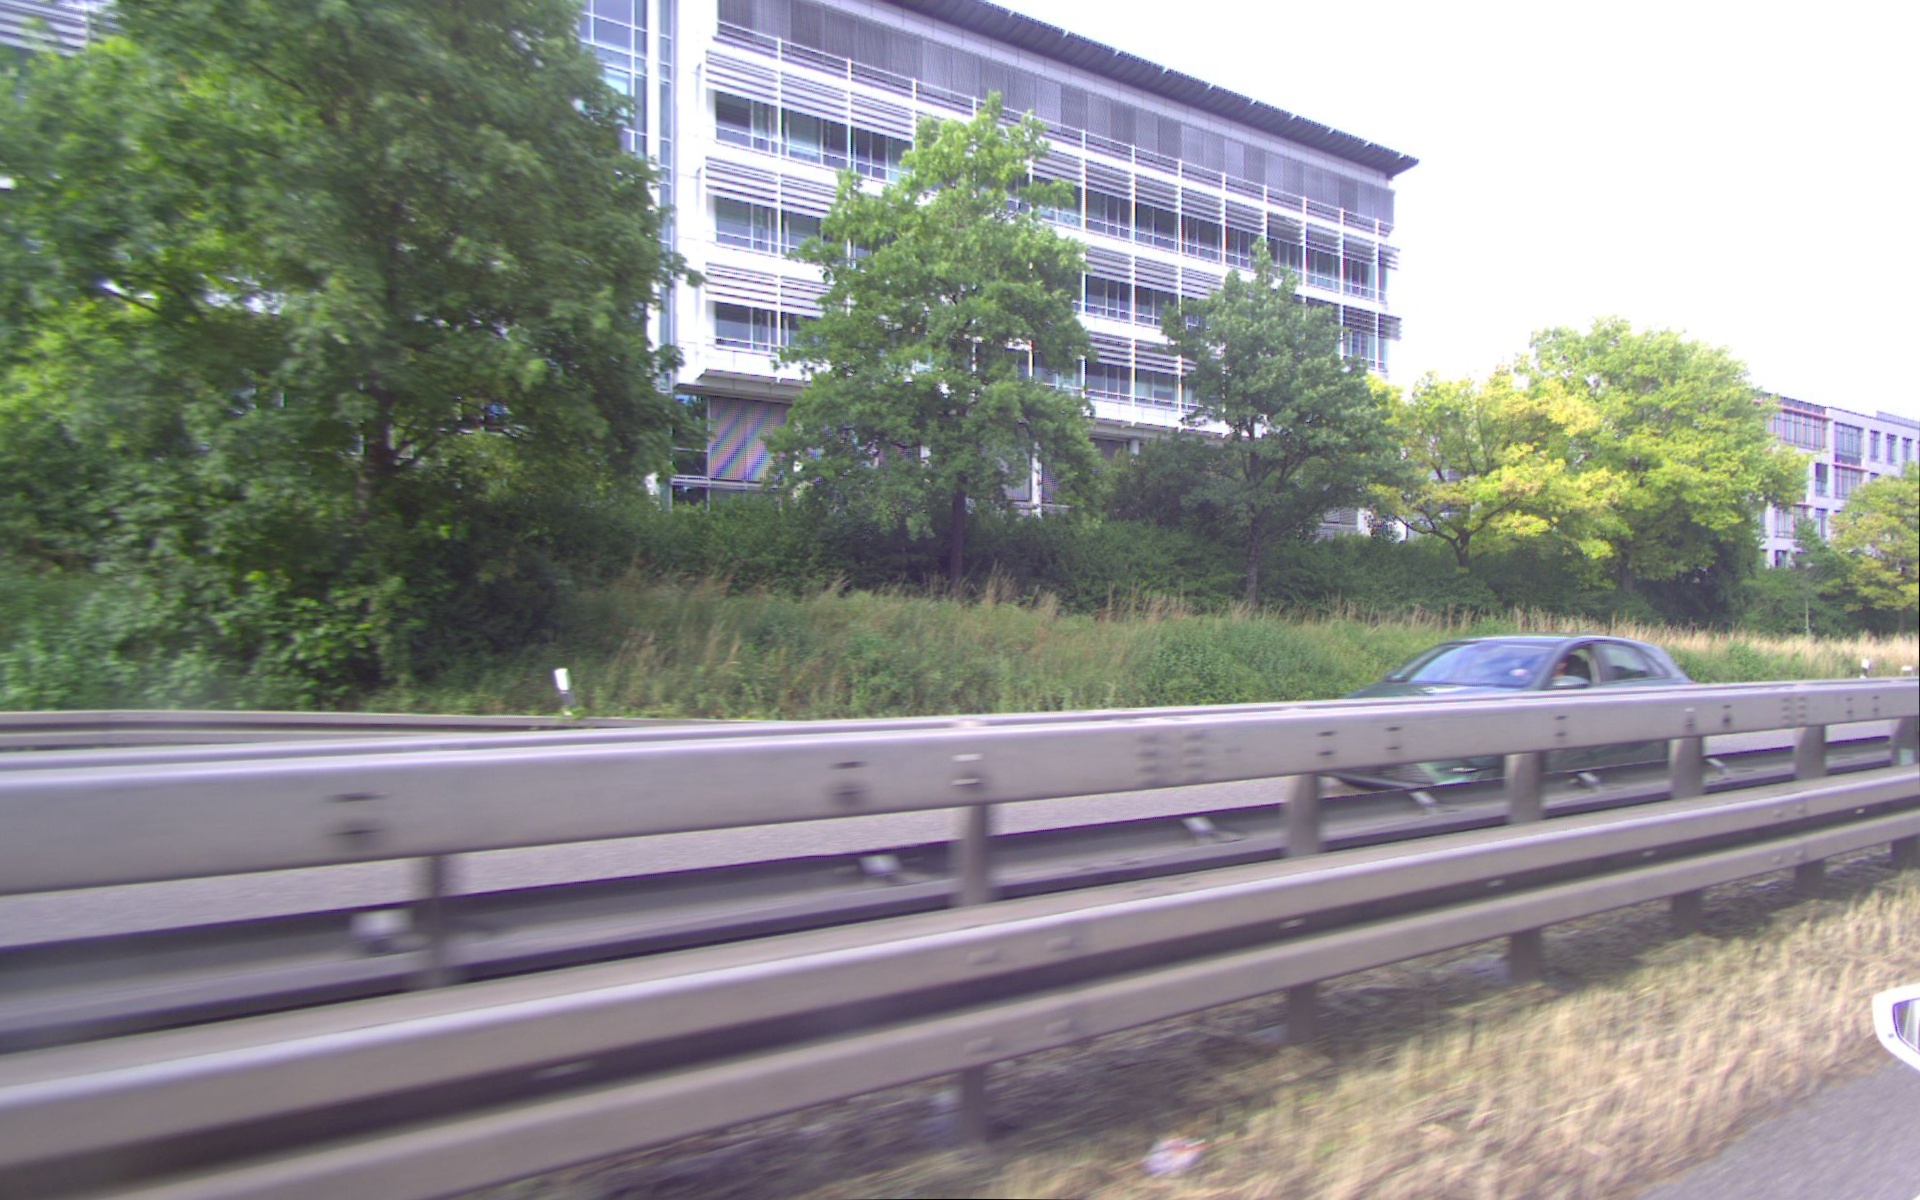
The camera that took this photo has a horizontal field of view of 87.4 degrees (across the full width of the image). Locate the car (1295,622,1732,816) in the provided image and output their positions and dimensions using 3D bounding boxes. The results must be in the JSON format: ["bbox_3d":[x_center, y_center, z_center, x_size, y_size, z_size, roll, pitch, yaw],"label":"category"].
[{"bbox_3d":[5.330,0.999,9.551,4.262,1.477,1.734,2,-3,-31],"label":"car"}]
